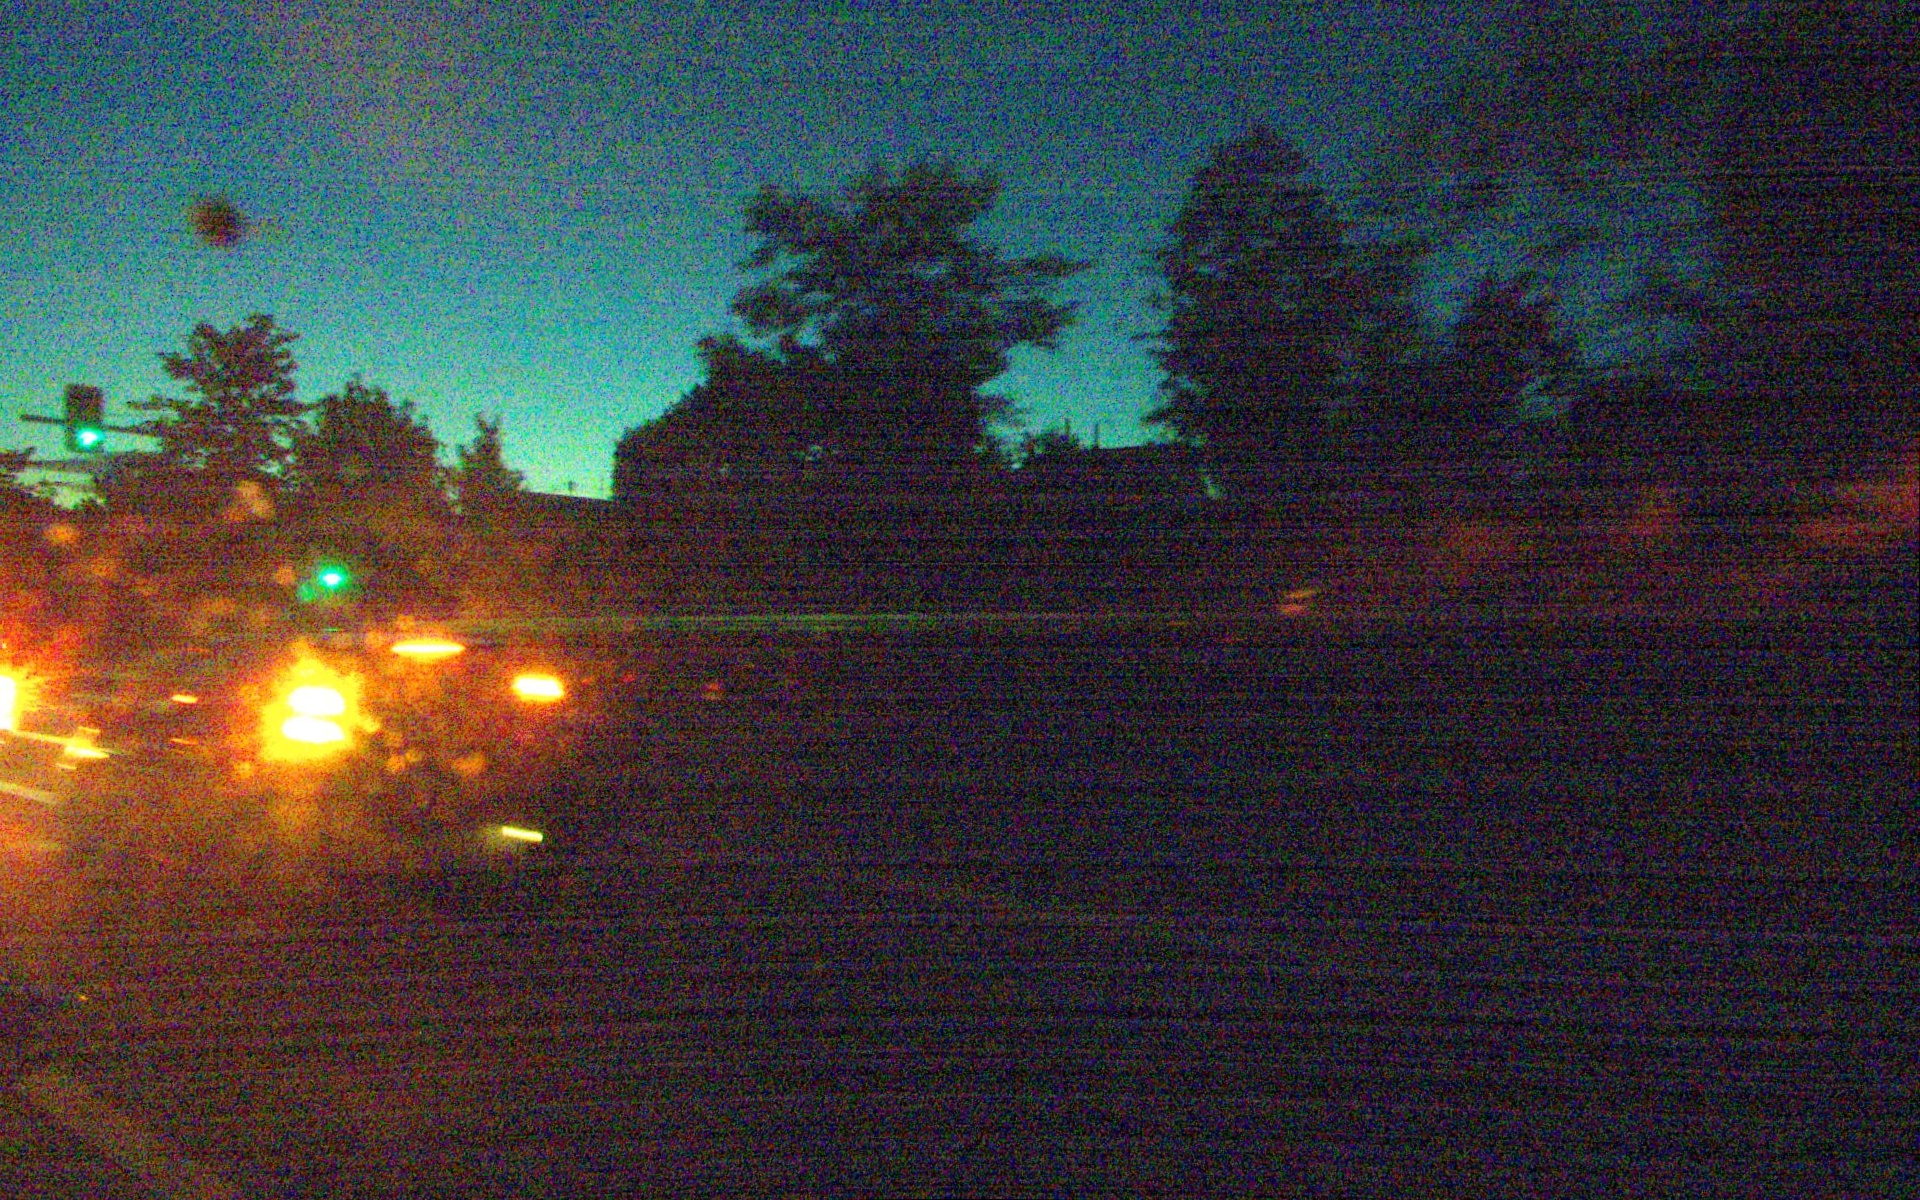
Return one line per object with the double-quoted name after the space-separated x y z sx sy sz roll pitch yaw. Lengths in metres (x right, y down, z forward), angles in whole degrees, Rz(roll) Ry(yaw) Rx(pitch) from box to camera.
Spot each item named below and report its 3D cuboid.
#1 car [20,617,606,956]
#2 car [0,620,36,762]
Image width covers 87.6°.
-3.941 0.856 6.010 3.439 1.469 1.650 0 -1 32 "car"
-12.071 0.950 10.994 4.131 1.478 1.756 -1 -1 31 "car"
